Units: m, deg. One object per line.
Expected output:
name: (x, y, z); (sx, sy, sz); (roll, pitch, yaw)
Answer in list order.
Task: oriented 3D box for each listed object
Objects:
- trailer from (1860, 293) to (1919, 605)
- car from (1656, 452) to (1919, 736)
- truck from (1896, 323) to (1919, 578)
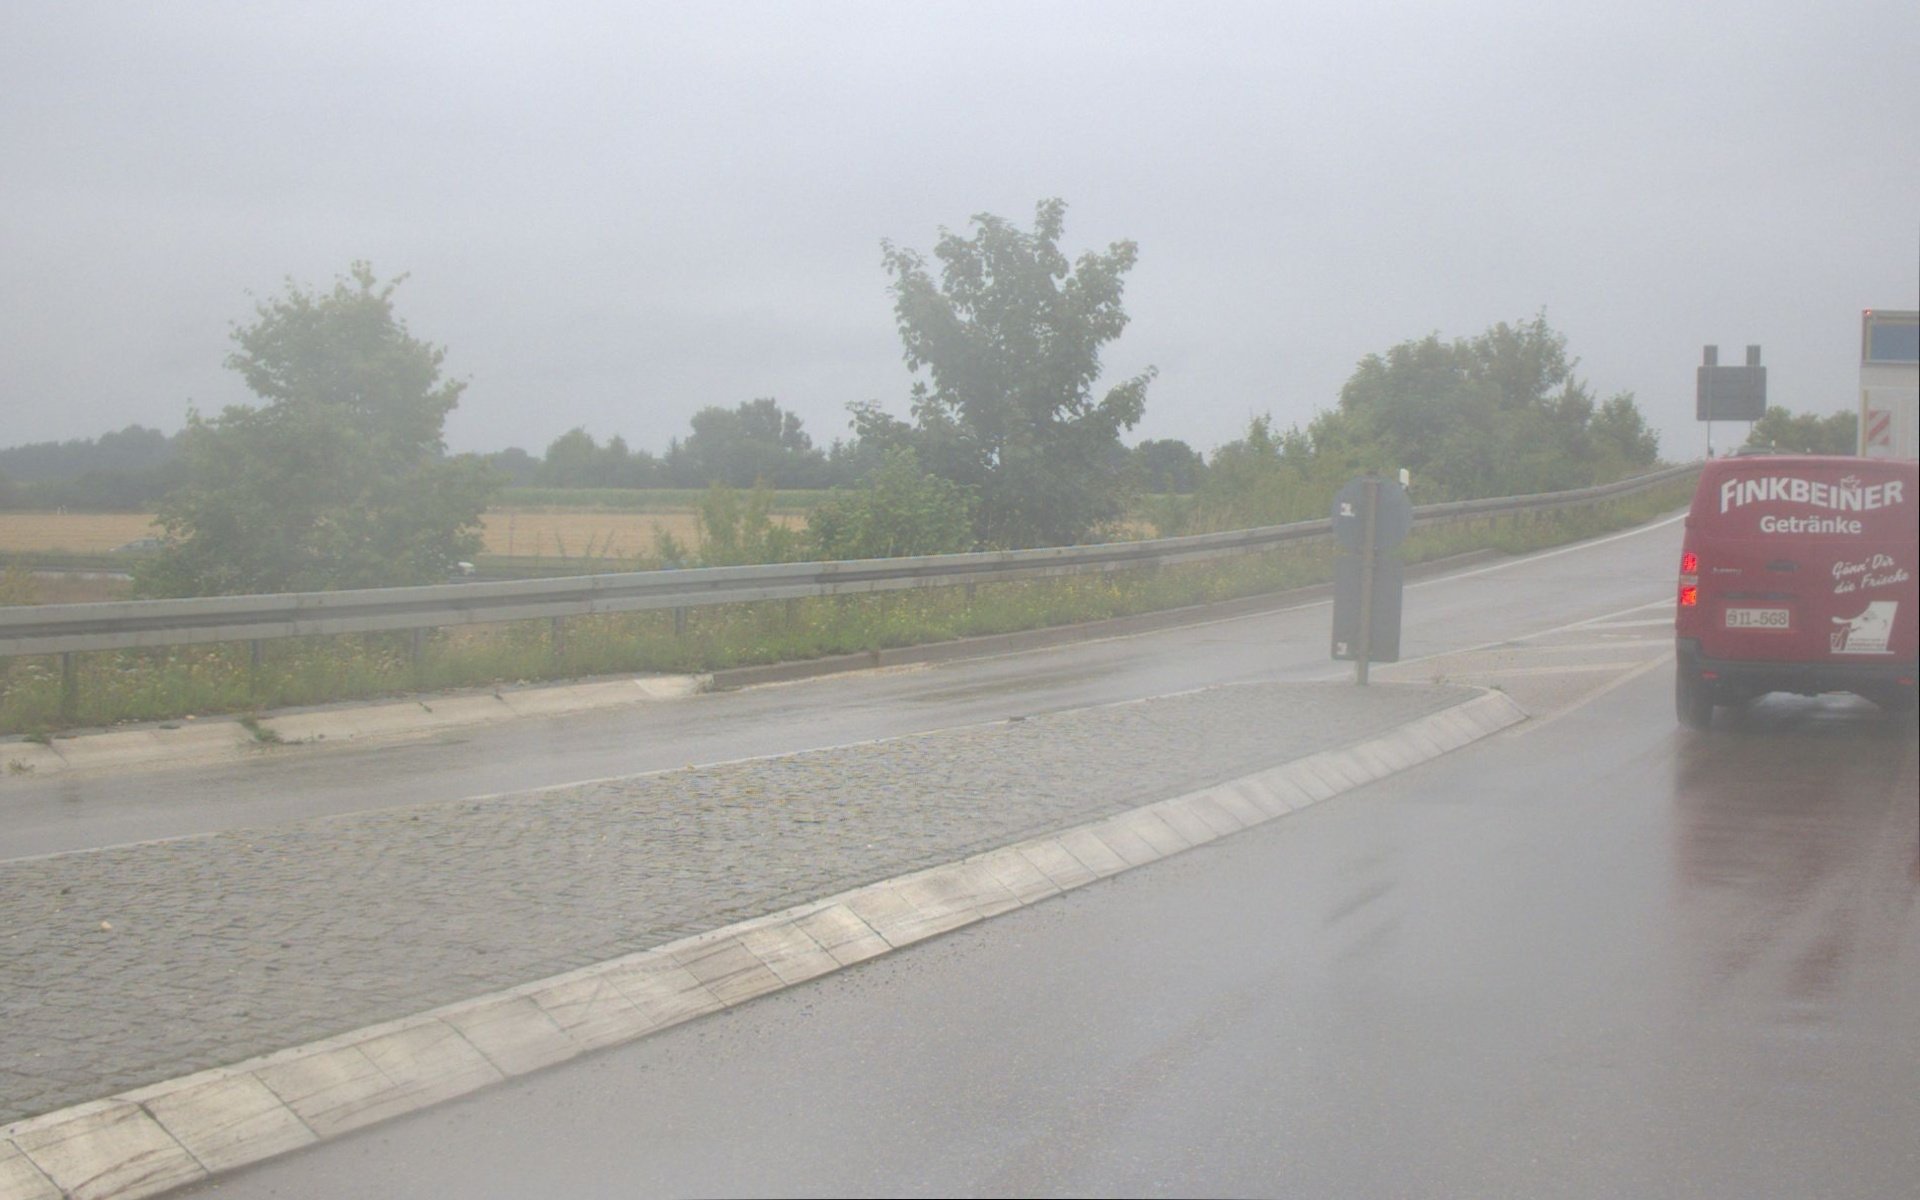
trailer: (13.901, -2.009, 46.407); (2.834, 3.805, 9.707); (1, 3, 18)
car: (6.430, -0.150, 25.423); (1.995, 1.864, 4.975); (1, 3, 17)
truck: (16.555, -2.347, 54.675); (2.802, 3.805, 7.683); (1, 2, 18)
